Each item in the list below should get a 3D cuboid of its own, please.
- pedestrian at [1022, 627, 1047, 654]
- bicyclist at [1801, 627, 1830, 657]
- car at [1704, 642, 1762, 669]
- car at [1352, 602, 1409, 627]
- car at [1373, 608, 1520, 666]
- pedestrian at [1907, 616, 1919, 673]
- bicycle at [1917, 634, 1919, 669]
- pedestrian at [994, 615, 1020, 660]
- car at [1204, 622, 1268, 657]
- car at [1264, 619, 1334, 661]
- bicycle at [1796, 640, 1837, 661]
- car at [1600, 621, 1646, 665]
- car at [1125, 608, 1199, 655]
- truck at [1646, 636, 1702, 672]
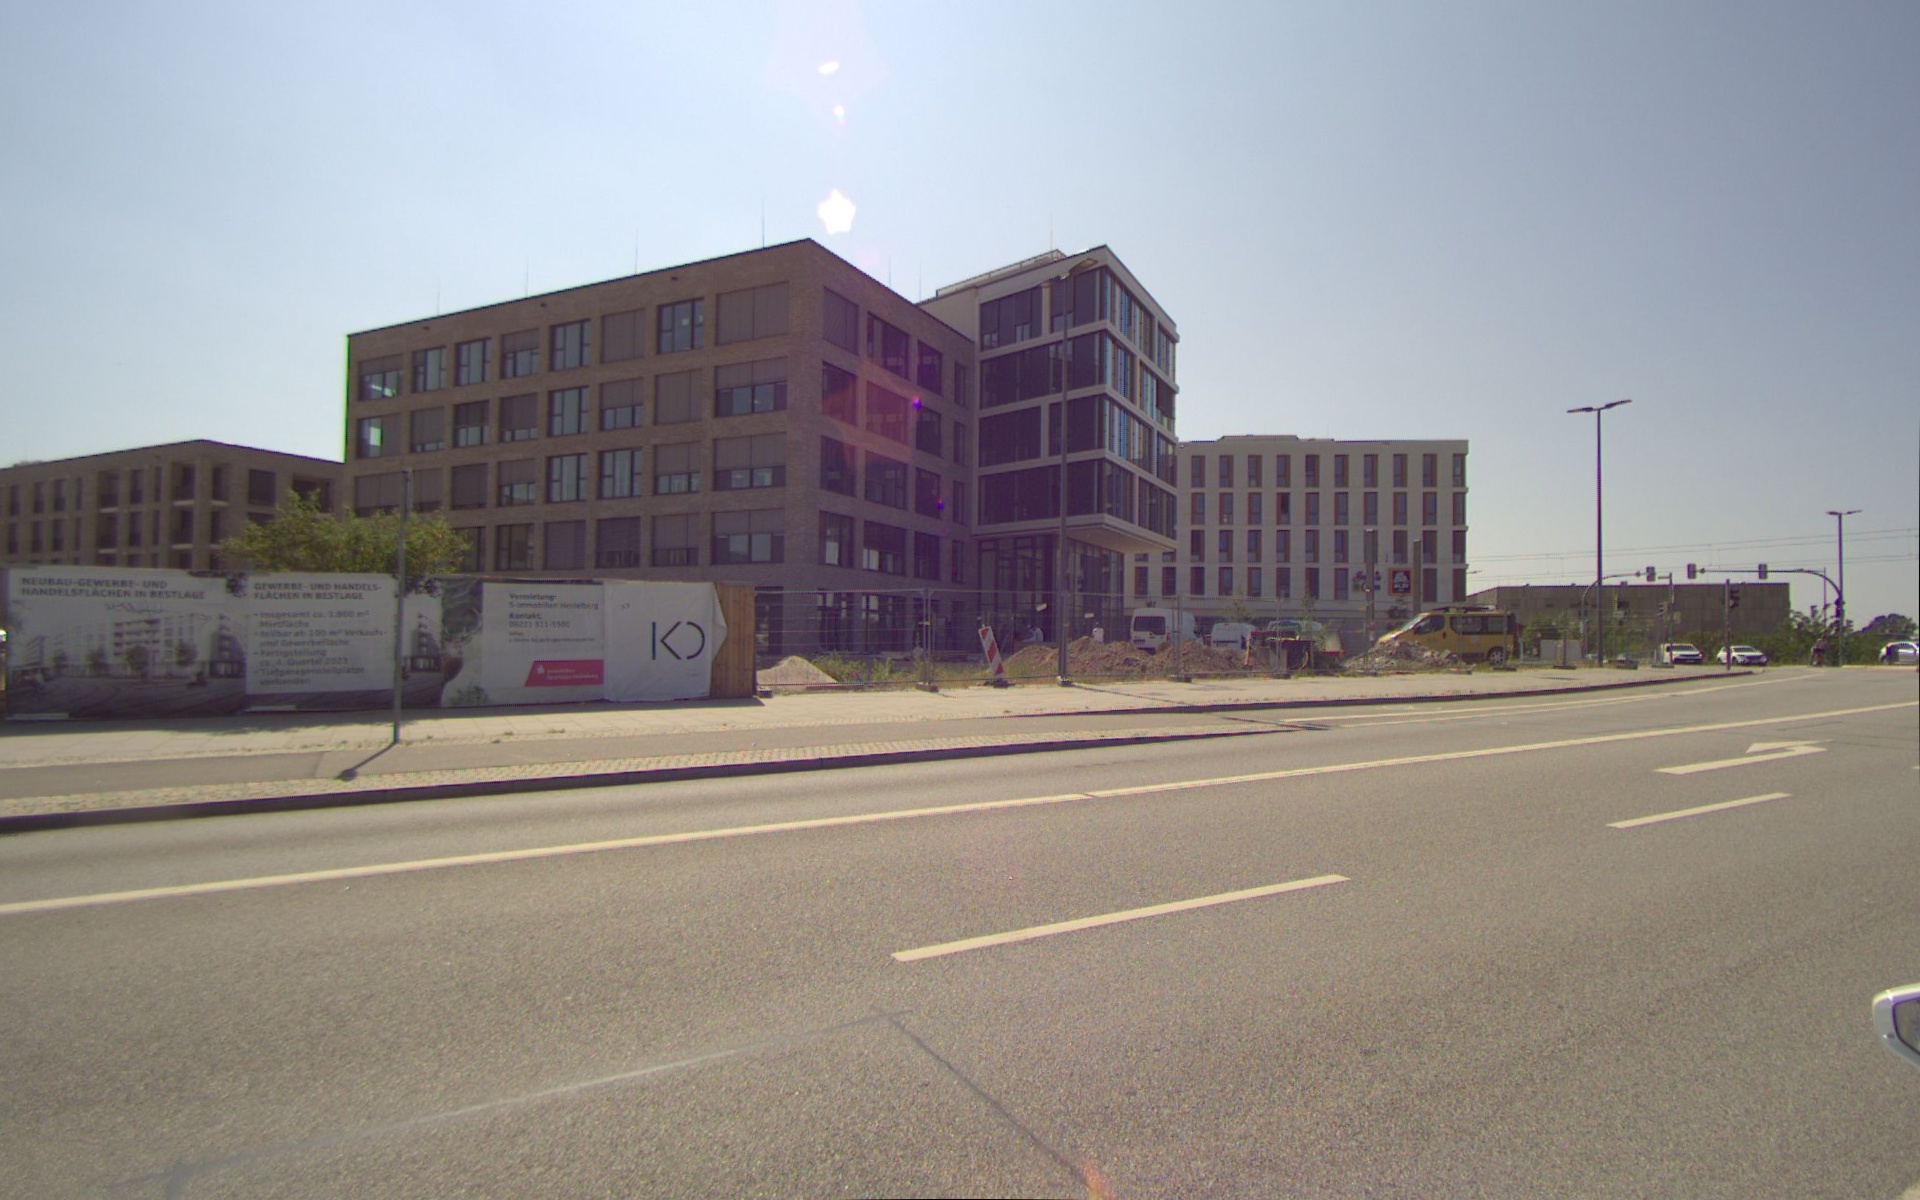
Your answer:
[{"bbox_3d":[3.889,2.119,52.567,1.098,1.391,0.742,2,0,-16],"label":"pedestrian"},{"bbox_3d":[48.212,2.351,56.604,0.931,1.631,0.773,2,0,-6],"label":"bicyclist"},{"bbox_3d":[57.911,4.119,75.343,1.893,1.839,4.049,1,-1,13],"label":"car"},{"bbox_3d":[35.475,1.205,84.821,1.986,2.040,3.950,2,0,-43],"label":"car"},{"bbox_3d":[17.668,1.325,36.702,4.395,1.915,2.001,1,0,9],"label":"car"},{"bbox_3d":[32.131,1.492,33.349,0.743,1.888,0.738,2,0,-23],"label":"pedestrian"},{"bbox_3d":[33.524,1.773,33.640,0.551,1.193,2.062,2,0,-42],"label":"bicycle"},{"bbox_3d":[2.170,1.717,46.488,0.949,2.040,0.940,2,0,-16],"label":"pedestrian"},{"bbox_3d":[12.817,1.797,46.518,1.774,1.528,3.991,1,-1,32],"label":"car"},{"bbox_3d":[15.317,1.782,45.199,1.967,1.730,4.550,1,-1,32],"label":"car"},{"bbox_3d":[48.208,2.812,56.541,0.567,1.082,1.870,2,0,-6],"label":"bicycle"},{"bbox_3d":[33.105,2.108,50.224,1.646,2.040,3.992,1,0,31],"label":"car"},{"bbox_3d":[9.656,1.463,47.752,2.175,2.083,4.164,1,0,30],"label":"car"},{"bbox_3d":[55.485,4.177,78.167,1.960,2.574,4.711,1,-1,15],"label":"truck"}]
